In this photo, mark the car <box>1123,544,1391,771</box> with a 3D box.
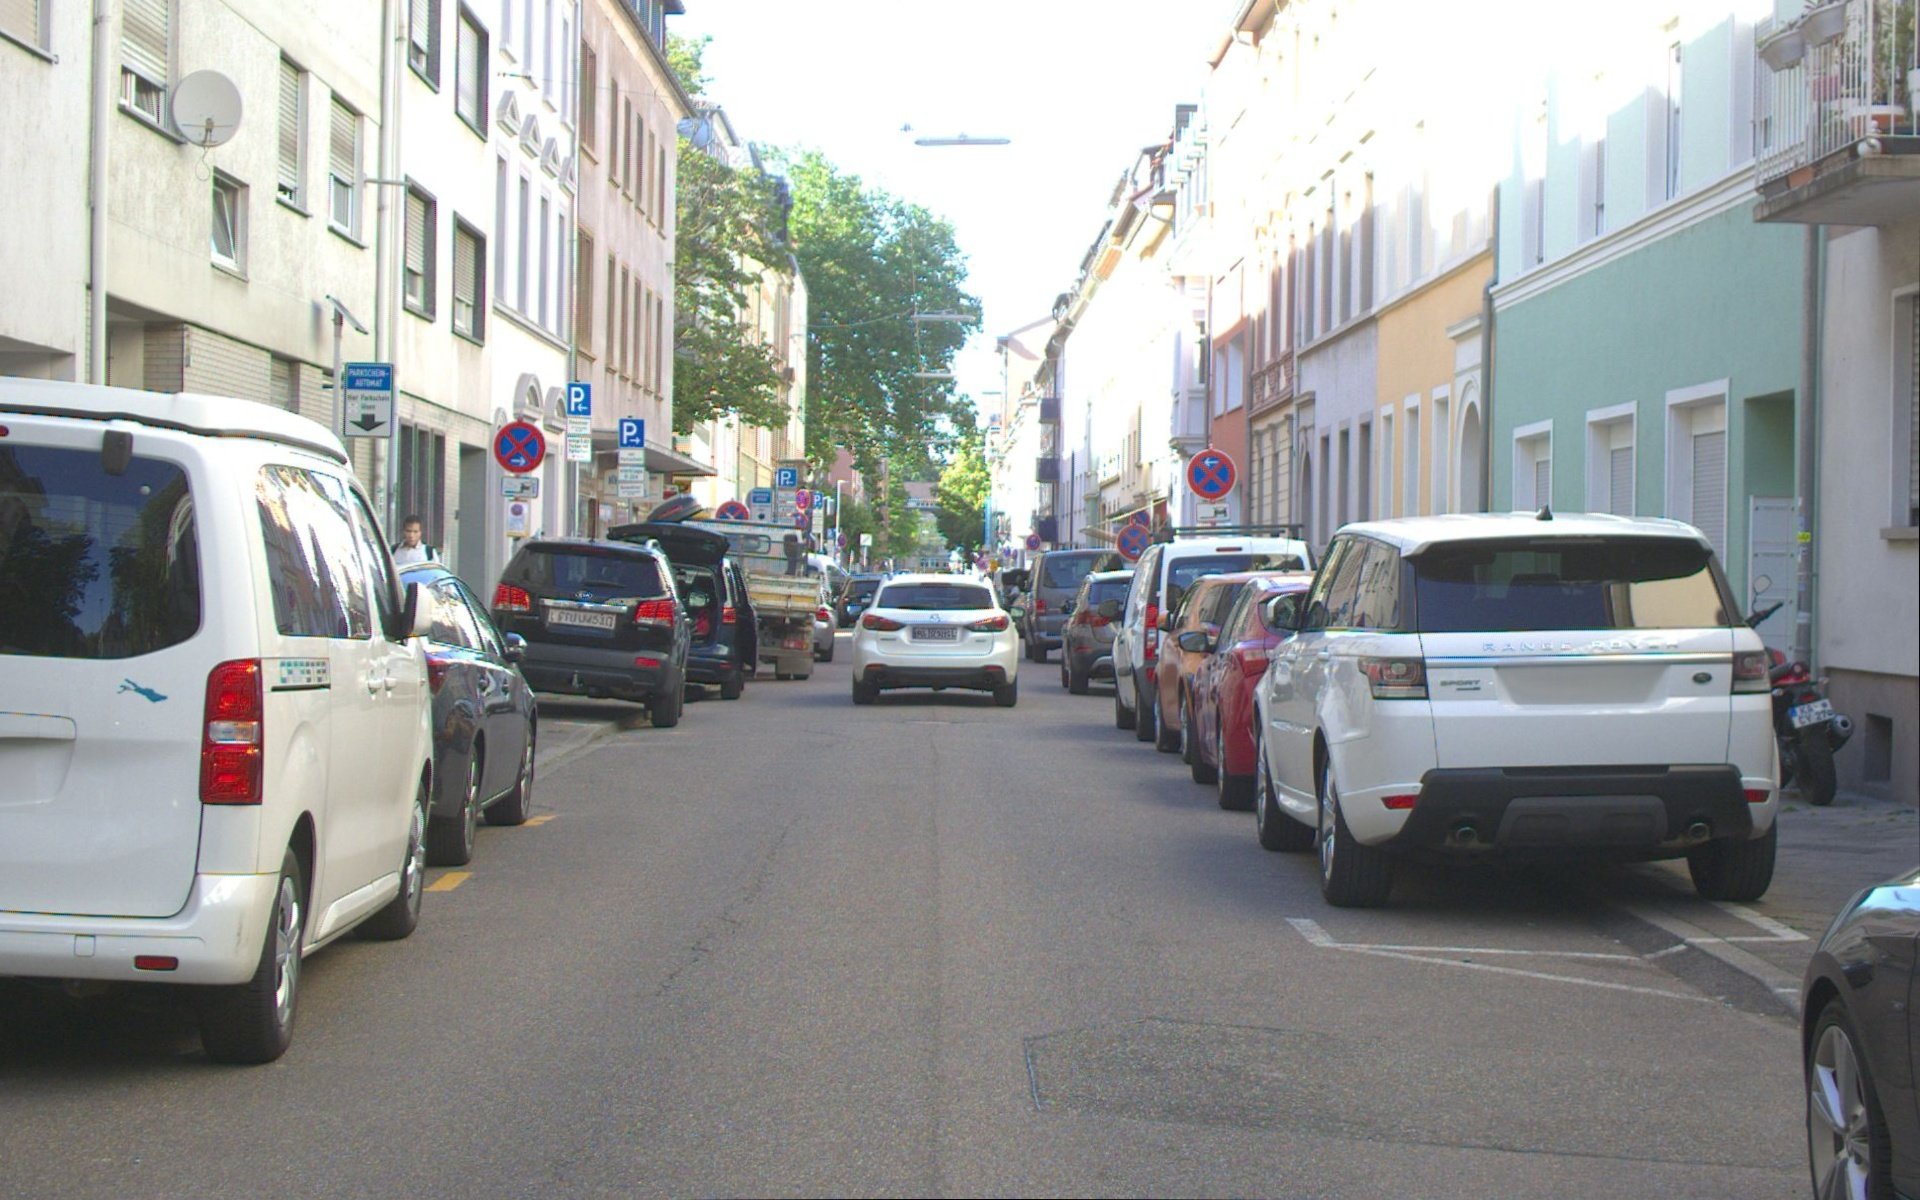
[{"bbox_3d":[2.299,0.404,27.409,1.580,1.626,3.682,2,1,-3],"label":"car"}]

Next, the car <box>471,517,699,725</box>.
[{"bbox_3d":[-3.538,0.143,33.124,1.879,1.749,4.543,4,1,-4],"label":"car"}]

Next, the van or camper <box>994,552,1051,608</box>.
[{"bbox_3d":[2.243,-0.712,124.515,1.993,1.919,4.000,0,-1,0],"label":"van or camper"}]

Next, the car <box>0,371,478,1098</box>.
[{"bbox_3d":[-2.888,0.293,11.761,1.894,1.951,4.782,3,1,-2],"label":"car"}]

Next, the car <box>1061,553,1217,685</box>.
[{"bbox_3d":[2.270,0.208,44.616,1.739,1.571,4.378,1,1,0],"label":"car"}]

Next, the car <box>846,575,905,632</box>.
[{"bbox_3d":[-2.484,0.085,102.105,1.625,1.592,3.580,2,1,0],"label":"car"}]

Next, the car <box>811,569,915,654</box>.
[{"bbox_3d":[-1.709,0.175,60.835,1.758,1.411,4.000,-1,1,-2],"label":"car"}]

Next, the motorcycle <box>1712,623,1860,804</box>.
[{"bbox_3d":[5.104,0.681,21.318,0.480,1.043,1.691,1,1,-1],"label":"motorcycle"}]

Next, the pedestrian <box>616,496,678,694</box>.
[{"bbox_3d":[-3.555,-0.049,39.074,0.619,2.221,0.688,0,-1,0],"label":"pedestrian"}]

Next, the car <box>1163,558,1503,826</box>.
[{"bbox_3d":[2.368,0.529,22.737,1.742,1.563,4.032,1,1,-1],"label":"car"}]

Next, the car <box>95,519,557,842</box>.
[{"bbox_3d":[-3.182,0.353,18.040,1.706,1.445,4.302,2,0,-2],"label":"car"}]

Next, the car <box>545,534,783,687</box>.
[{"bbox_3d":[-3.530,0.089,42.013,2.441,1.700,5.242,1,1,0],"label":"car"}]

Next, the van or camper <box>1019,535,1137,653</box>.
[{"bbox_3d":[2.096,-0.113,62.335,1.775,2.029,4.570,-1,0,-2],"label":"van or camper"}]

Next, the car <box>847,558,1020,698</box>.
[{"bbox_3d":[-0.259,0.283,38.867,1.834,1.481,4.057,1,0,1],"label":"car"}]

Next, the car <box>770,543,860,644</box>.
[{"bbox_3d":[-2.800,-0.146,66.087,1.647,1.861,4.000,1,0,-3],"label":"car"}]

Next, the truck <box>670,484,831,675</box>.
[{"bbox_3d":[-3.104,-0.253,49.823,2.156,2.581,6.250,0,-1,-5],"label":"truck"}]

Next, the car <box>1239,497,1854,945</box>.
[{"bbox_3d":[2.566,0.439,16.341,2.005,1.777,4.939,1,1,0],"label":"car"}]

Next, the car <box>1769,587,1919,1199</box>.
[{"bbox_3d":[2.730,0.773,5.753,1.746,1.443,3.870,3,1,-1],"label":"car"}]

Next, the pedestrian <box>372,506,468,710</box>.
[{"bbox_3d":[-5.152,0.072,32.845,0.806,1.927,0.691,0,0,0],"label":"pedestrian"}]

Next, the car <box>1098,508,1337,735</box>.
[{"bbox_3d":[2.334,0.176,32.142,1.782,1.955,4.336,1,0,-1],"label":"car"}]
